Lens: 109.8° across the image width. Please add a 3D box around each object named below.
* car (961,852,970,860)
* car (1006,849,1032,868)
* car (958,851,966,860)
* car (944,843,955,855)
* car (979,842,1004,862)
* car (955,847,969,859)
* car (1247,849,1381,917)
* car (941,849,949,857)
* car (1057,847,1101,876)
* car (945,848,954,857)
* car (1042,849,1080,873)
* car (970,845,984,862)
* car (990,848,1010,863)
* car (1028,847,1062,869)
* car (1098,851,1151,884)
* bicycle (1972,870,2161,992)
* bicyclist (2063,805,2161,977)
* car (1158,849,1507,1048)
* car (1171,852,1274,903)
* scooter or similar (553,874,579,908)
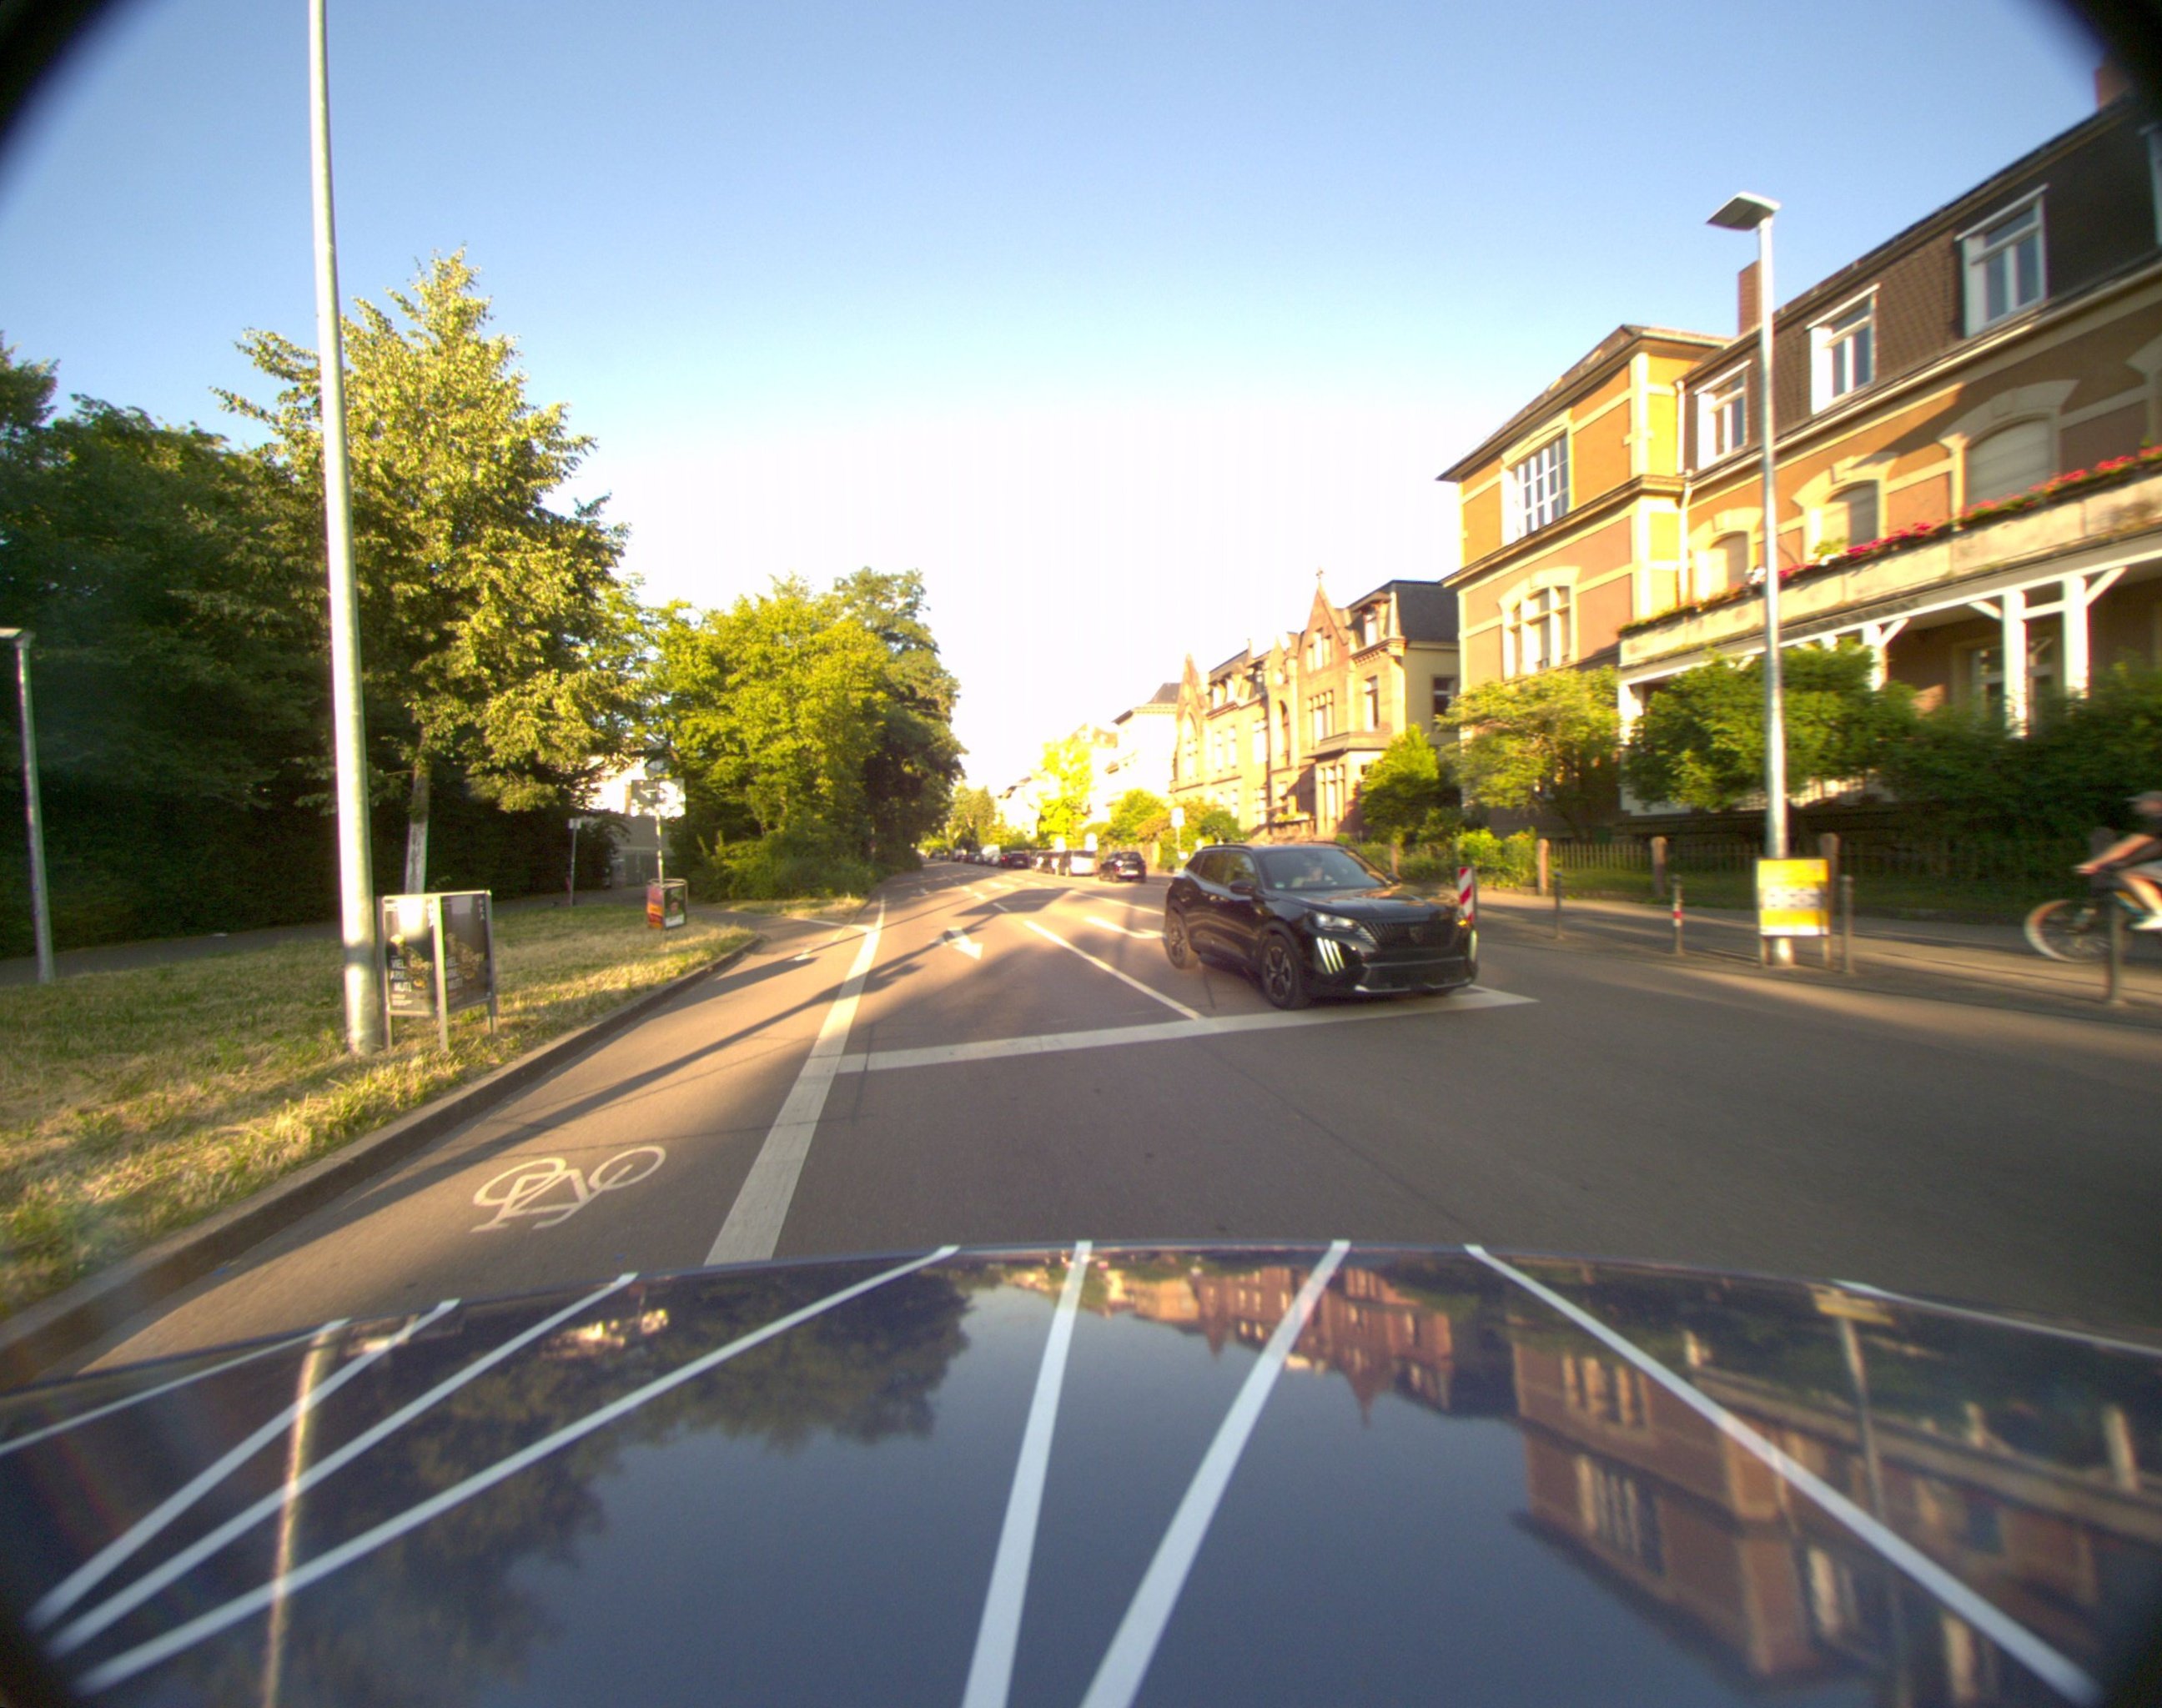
[{"bbox_3d":[-19.092,0.317,125.390,1.222,1.430,2.512,-1,1,-12],"label":"car"},{"bbox_3d":[-5.570,0.387,68.043,1.882,1.596,3.718,-1,1,-12],"label":"car"},{"bbox_3d":[-21.244,0.255,135.344,1.222,1.430,2.512,-1,1,-12],"label":"car"},{"bbox_3d":[-28.483,-1.066,164.851,2.001,2.443,5.573,-2,1,-13],"label":"car"},{"bbox_3d":[-10.861,-0.246,91.522,2.233,2.355,5.872,-1,1,-14],"label":"car"},{"bbox_3d":[-22.044,-0.239,140.674,2.206,2.201,4.522,-1,1,-12],"label":"car"},{"bbox_3d":[5.675,0.649,18.969,1.633,1.525,3.719,1,0,-11],"label":"car"},{"bbox_3d":[-37.953,-0.321,211.843,2.000,2.002,3.995,-2,1,-12],"label":"car"},{"bbox_3d":[-0.150,0.405,44.546,1.717,1.579,3.748,-1,1,-14],"label":"car"},{"bbox_3d":[-31.364,-0.329,181.427,2.000,2.002,3.995,-4,1,-11],"label":"car"},{"bbox_3d":[-1.362,0.437,49.598,1.717,1.442,3.718,-1,0,-14],"label":"car"},{"bbox_3d":[-14.228,-0.050,103.479,1.572,2.253,3.795,-1,1,-12],"label":"car"},{"bbox_3d":[-9.104,0.179,85.114,1.718,1.596,3.848,-1,1,-14],"label":"car"},{"bbox_3d":[-2.604,0.278,54.120,1.717,1.442,3.718,-1,0,-14],"label":"car"},{"bbox_3d":[1.989,0.578,35.551,1.633,1.437,3.562,-1,0,-11],"label":"car"},{"bbox_3d":[10.530,0.750,7.660,0.660,1.083,1.901,-4,1,-12],"label":"bicycle"},{"bbox_3d":[10.550,0.345,7.455,0.653,1.623,0.913,-4,2,-12],"label":"bicyclist"},{"bbox_3d":[2.283,0.739,8.113,1.684,1.527,3.995,-2,1,-13],"label":"car"},{"bbox_3d":[4.222,0.653,23.406,1.610,1.434,4.428,1,0,-11],"label":"car"},{"bbox_3d":[-17.335,1.240,25.570,0.194,1.079,0.837,-3,1,2],"label":"scooter or similar"}]
